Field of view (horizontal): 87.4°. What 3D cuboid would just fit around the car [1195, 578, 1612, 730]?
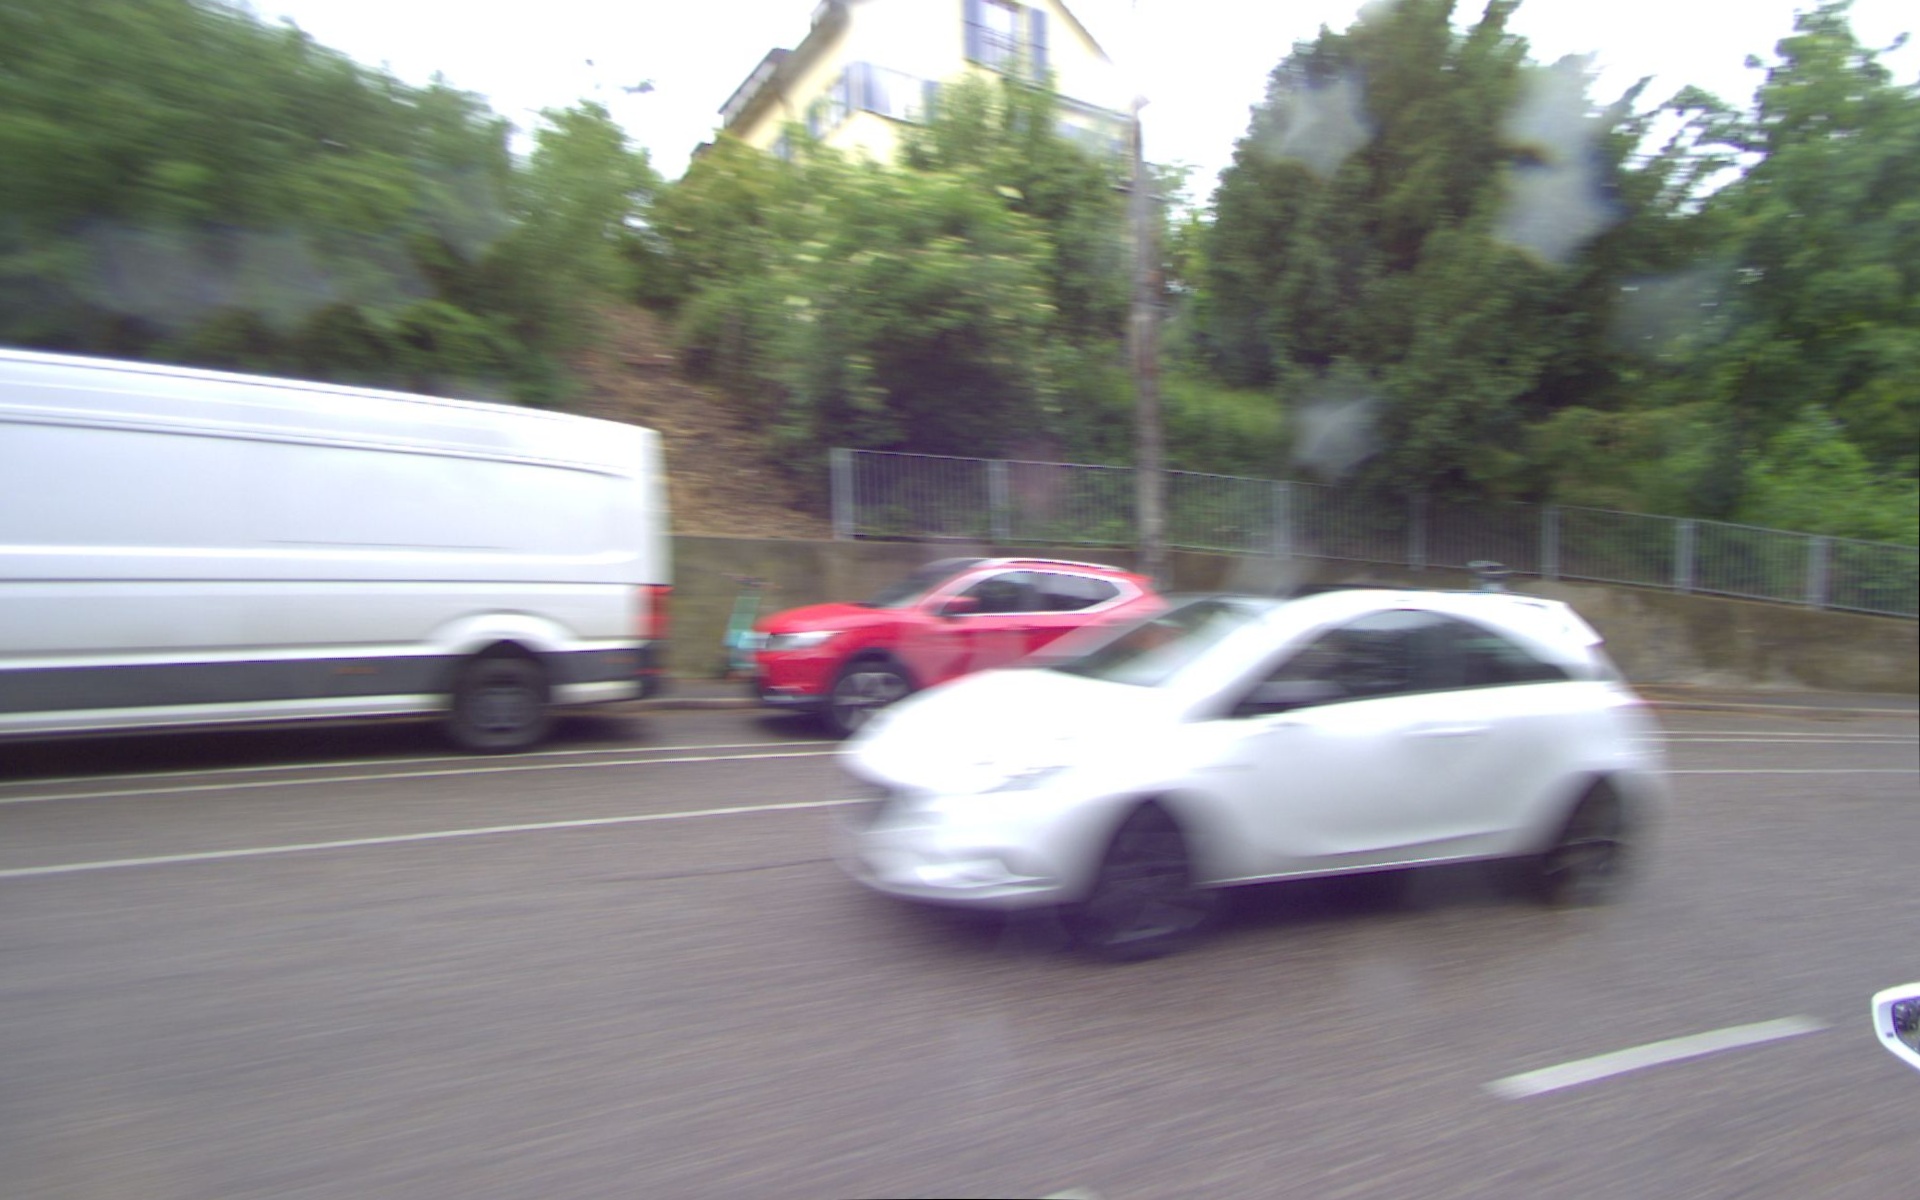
[{"bbox_3d":[5.001,0.575,11.495,4.127,1.499,1.738,1,2,-14],"label":"car"}]

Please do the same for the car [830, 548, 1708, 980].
[{"bbox_3d":[1.494,0.594,4.957,3.972,1.515,1.599,1,1,-21],"label":"car"}]

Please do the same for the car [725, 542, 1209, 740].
[{"bbox_3d":[0.076,0.364,9.809,4.370,1.607,1.771,2,1,-23],"label":"car"}]

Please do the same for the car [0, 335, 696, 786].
[{"bbox_3d":[-5.476,-0.243,6.940,6.753,2.565,2.021,1,1,-35],"label":"car"}]
